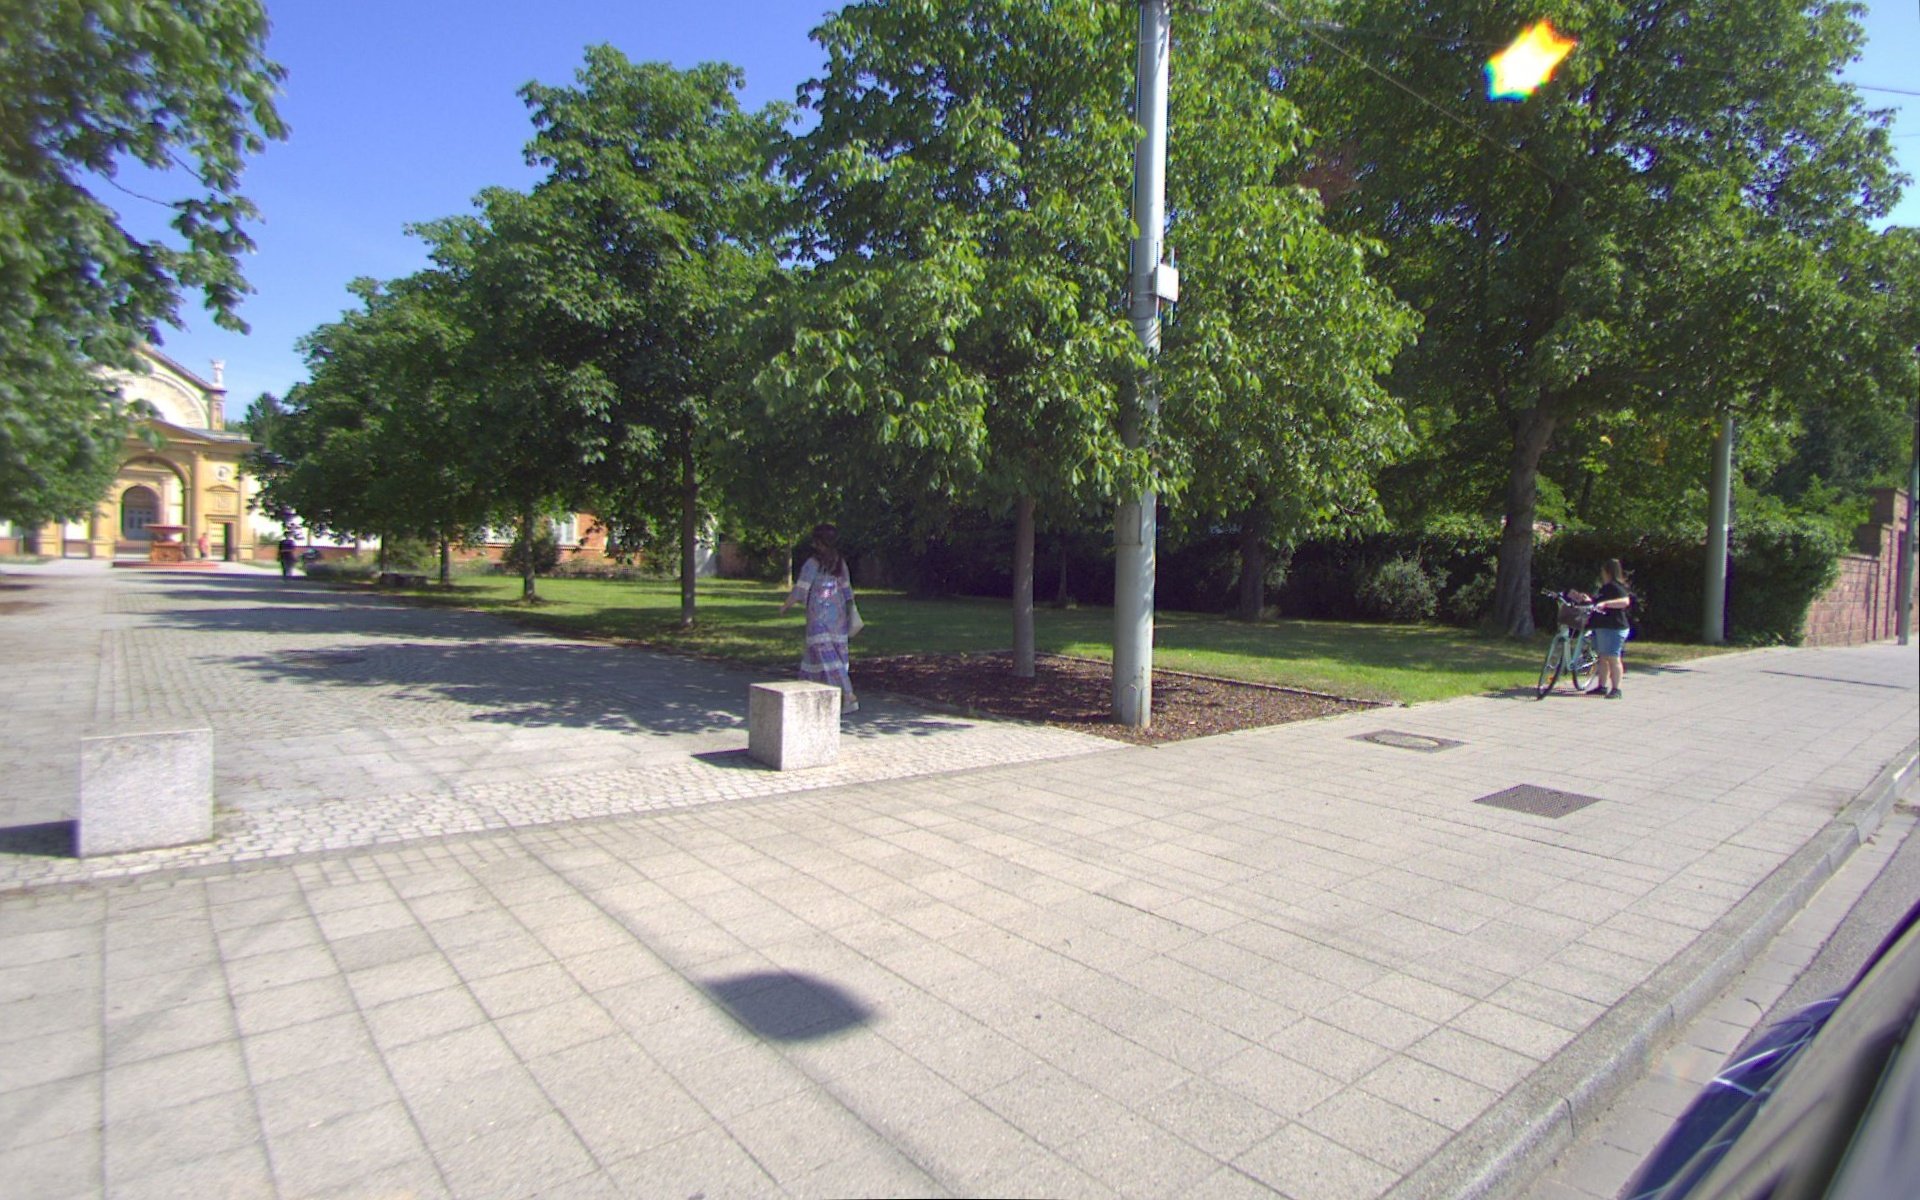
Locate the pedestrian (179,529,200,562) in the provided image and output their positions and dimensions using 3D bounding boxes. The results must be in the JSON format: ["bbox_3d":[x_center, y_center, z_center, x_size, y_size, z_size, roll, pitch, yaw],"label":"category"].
[{"bbox_3d":[-38.316,-2.692,50.345,0.619,1.620,0.734,3,2,43],"label":"pedestrian"}]

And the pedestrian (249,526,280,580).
[{"bbox_3d":[-21.088,-1.422,30.664,0.677,1.620,0.867,0,2,-41],"label":"pedestrian"}]

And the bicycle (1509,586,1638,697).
[{"bbox_3d":[6.829,0.419,11.237,1.773,1.124,0.538,0,3,-36],"label":"bicycle"}]

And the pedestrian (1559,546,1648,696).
[{"bbox_3d":[7.097,0.212,11.160,0.651,1.567,0.542,0,4,-40],"label":"pedestrian"}]

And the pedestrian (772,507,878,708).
[{"bbox_3d":[-1.202,0.048,9.071,0.698,1.703,0.648,2,2,18],"label":"pedestrian"}]
